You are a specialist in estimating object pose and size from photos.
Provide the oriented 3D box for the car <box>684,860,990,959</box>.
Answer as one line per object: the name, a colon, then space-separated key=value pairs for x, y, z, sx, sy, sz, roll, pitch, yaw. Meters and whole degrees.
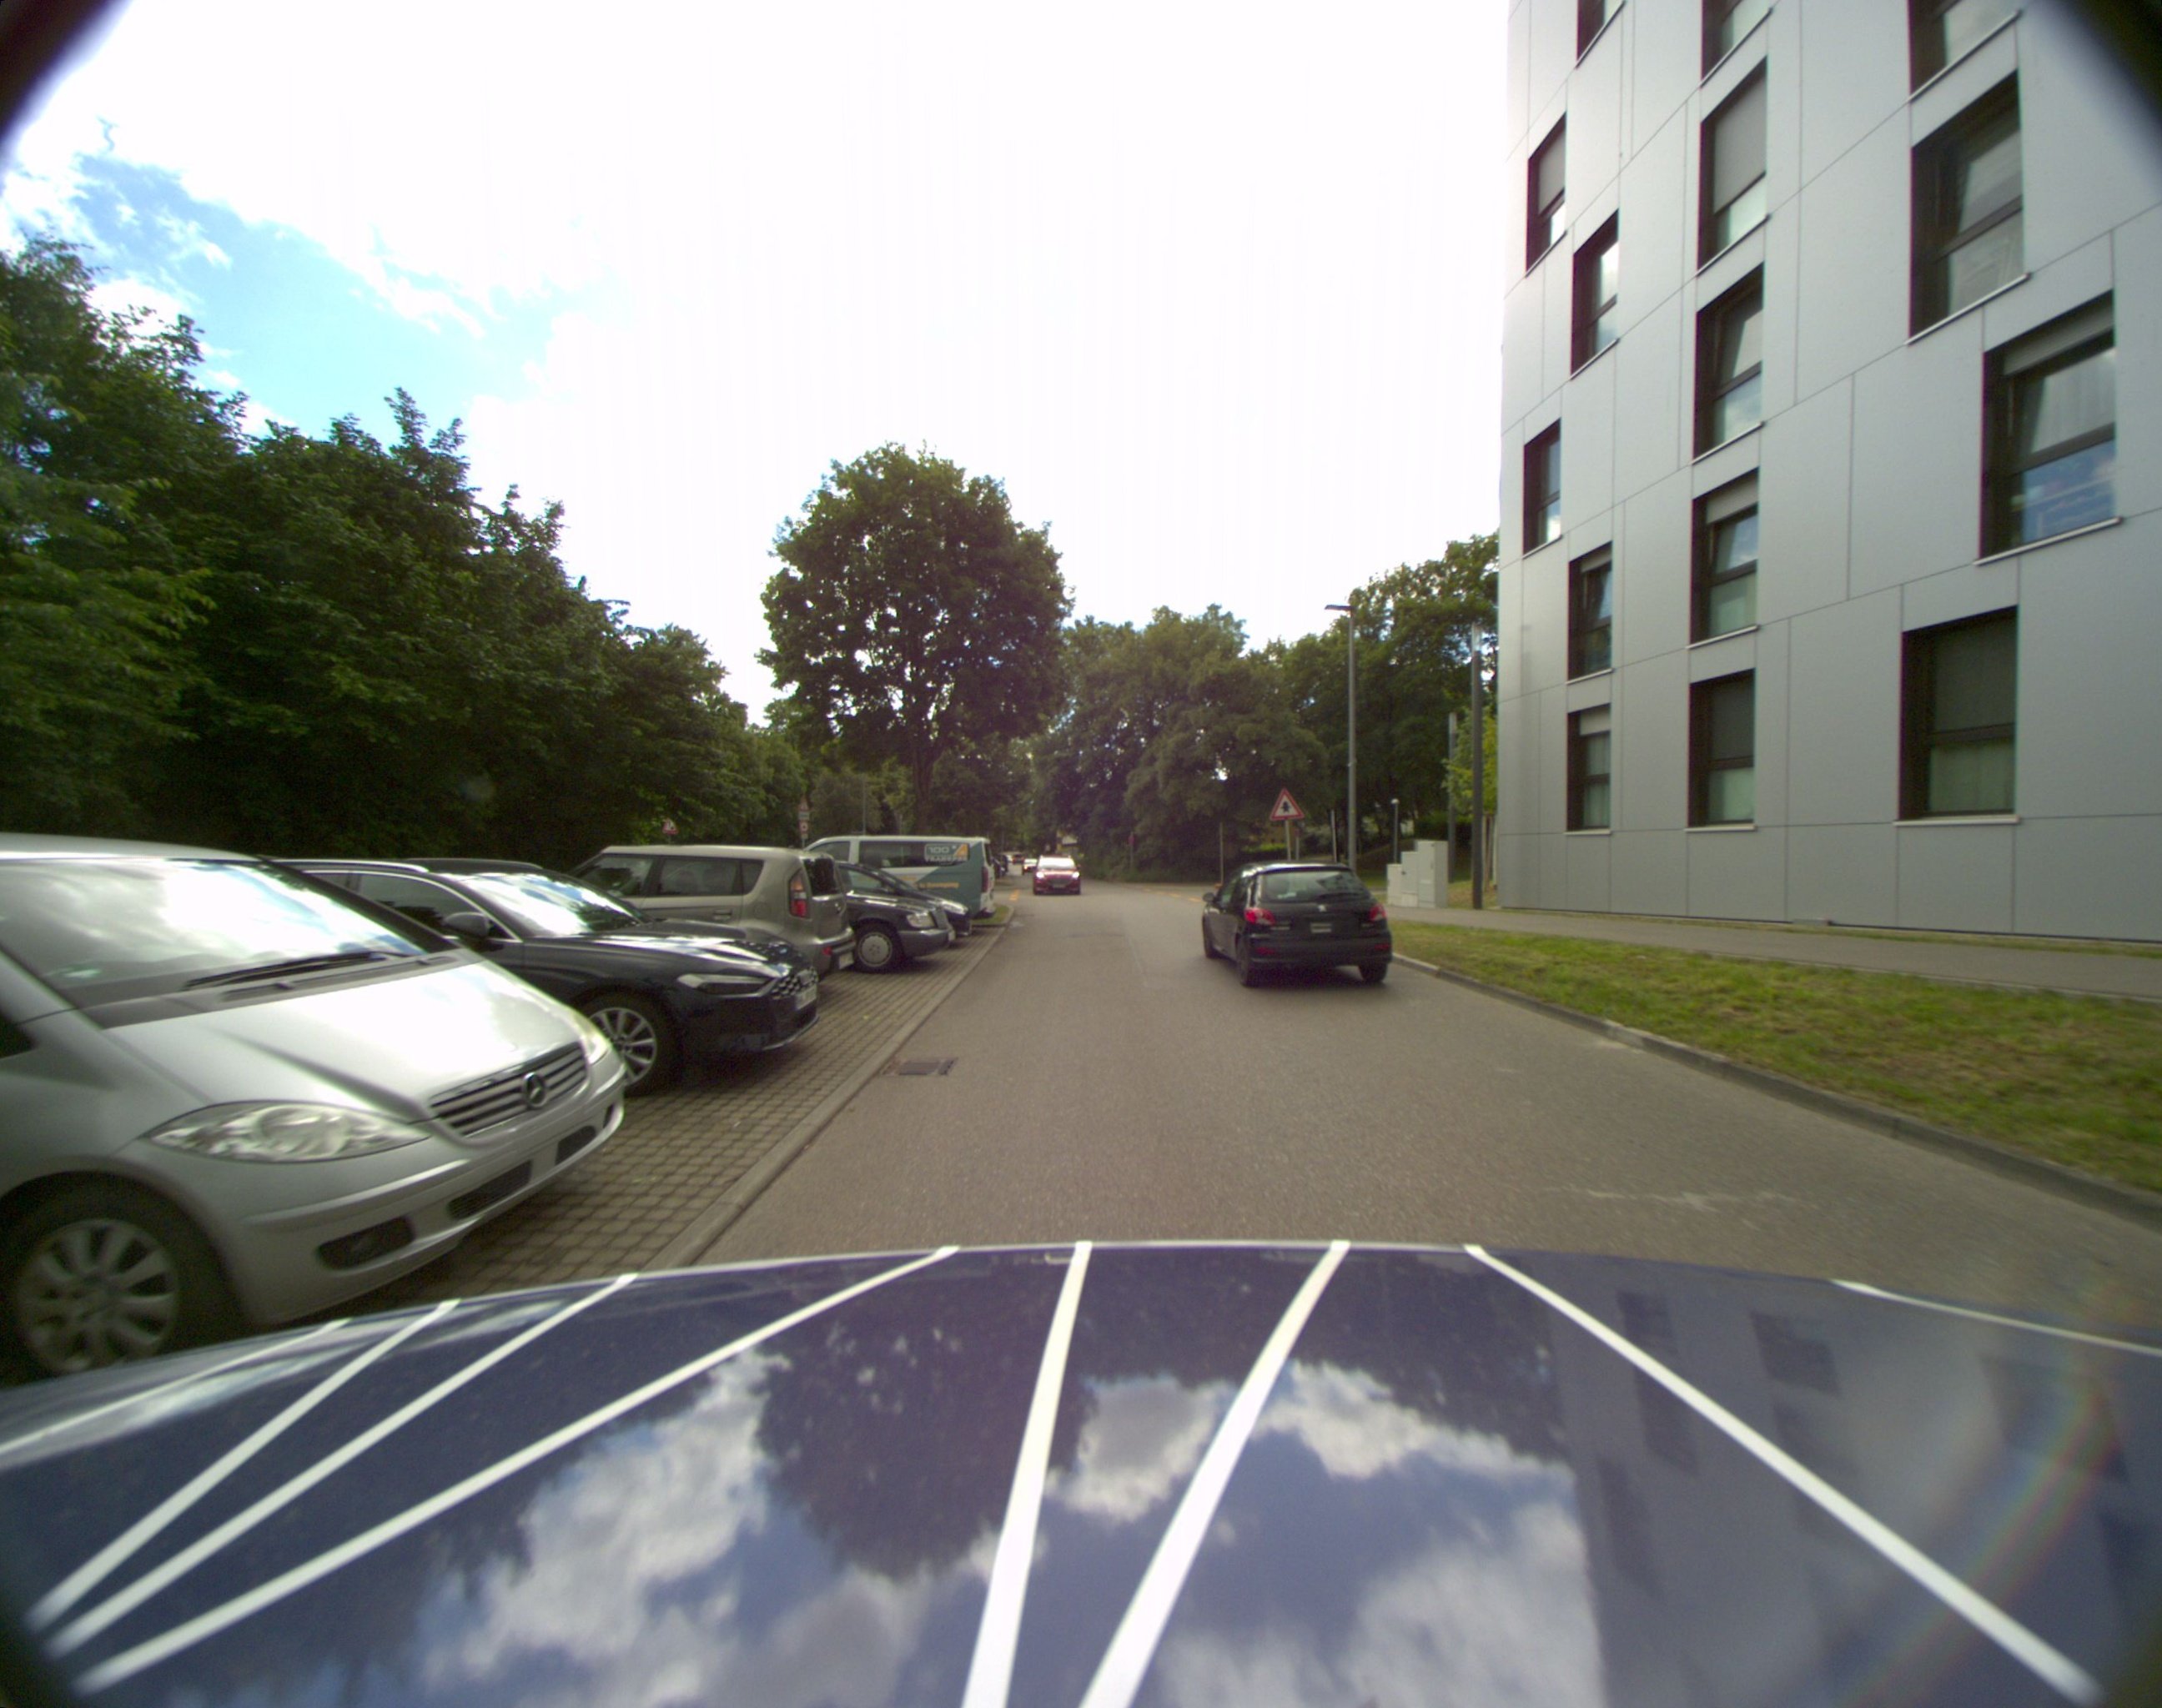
car: x=-4.066 y=0.904 z=13.263 sx=4.716 sy=1.507 sz=1.846 roll=1 pitch=0 yaw=-1

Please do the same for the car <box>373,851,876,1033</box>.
car: x=-4.454 y=0.813 z=7.942 sx=4.076 sy=1.600 sz=1.892 roll=1 pitch=0 yaw=-1

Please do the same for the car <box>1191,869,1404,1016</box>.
car: x=2.529 y=0.959 z=9.860 sx=1.613 sy=1.380 sz=4.000 roll=-2 pitch=0 yaw=0

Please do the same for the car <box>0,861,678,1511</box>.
car: x=-4.233 y=0.842 z=2.845 sx=4.390 sy=1.568 sz=1.916 roll=1 pitch=0 yaw=-1

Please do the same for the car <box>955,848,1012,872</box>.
car: x=-8.763 y=0.551 z=68.775 sx=4.969 sy=2.002 sz=2.165 roll=2 pitch=0 yaw=-5

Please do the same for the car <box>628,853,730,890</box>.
car: x=-18.581 y=0.805 z=35.257 sx=3.788 sy=1.658 sz=1.768 roll=0 pitch=1 yaw=2

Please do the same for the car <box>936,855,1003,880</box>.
car: x=-6.719 y=0.810 z=45.957 sx=3.843 sy=1.395 sz=1.851 roll=1 pitch=1 yaw=-4

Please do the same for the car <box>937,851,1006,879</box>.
car: x=-6.927 y=0.694 z=48.452 sx=4.135 sy=1.640 sz=1.979 roll=1 pitch=1 yaw=-2

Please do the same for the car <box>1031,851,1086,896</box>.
car: x=-1.043 y=0.749 z=32.269 sx=1.919 sy=1.707 sz=5.035 roll=-1 pitch=0 yaw=-6

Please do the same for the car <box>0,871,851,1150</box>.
car: x=-4.307 y=0.935 z=5.390 sx=4.739 sy=1.490 sz=2.111 roll=1 pitch=0 yaw=-4

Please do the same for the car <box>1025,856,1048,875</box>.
car: x=-4.287 y=1.066 z=72.645 sx=1.919 sy=1.707 sz=5.035 roll=-1 pitch=0 yaw=-6

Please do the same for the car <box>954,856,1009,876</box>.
car: x=-7.333 y=0.874 z=56.335 sx=3.999 sy=1.422 sz=1.934 roll=1 pitch=1 yaw=-6

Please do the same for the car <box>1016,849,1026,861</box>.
car: x=-13.003 y=0.155 z=165.029 sx=2.138 sy=2.461 sz=6.274 roll=-2 pitch=0 yaw=-4

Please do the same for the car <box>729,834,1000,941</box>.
car: x=-4.188 y=0.657 z=15.390 sx=4.987 sy=1.960 sz=1.846 roll=1 pitch=0 yaw=-5

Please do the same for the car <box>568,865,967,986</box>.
car: x=-4.145 y=0.922 z=10.687 sx=4.735 sy=1.425 sz=2.057 roll=1 pitch=0 yaw=0
